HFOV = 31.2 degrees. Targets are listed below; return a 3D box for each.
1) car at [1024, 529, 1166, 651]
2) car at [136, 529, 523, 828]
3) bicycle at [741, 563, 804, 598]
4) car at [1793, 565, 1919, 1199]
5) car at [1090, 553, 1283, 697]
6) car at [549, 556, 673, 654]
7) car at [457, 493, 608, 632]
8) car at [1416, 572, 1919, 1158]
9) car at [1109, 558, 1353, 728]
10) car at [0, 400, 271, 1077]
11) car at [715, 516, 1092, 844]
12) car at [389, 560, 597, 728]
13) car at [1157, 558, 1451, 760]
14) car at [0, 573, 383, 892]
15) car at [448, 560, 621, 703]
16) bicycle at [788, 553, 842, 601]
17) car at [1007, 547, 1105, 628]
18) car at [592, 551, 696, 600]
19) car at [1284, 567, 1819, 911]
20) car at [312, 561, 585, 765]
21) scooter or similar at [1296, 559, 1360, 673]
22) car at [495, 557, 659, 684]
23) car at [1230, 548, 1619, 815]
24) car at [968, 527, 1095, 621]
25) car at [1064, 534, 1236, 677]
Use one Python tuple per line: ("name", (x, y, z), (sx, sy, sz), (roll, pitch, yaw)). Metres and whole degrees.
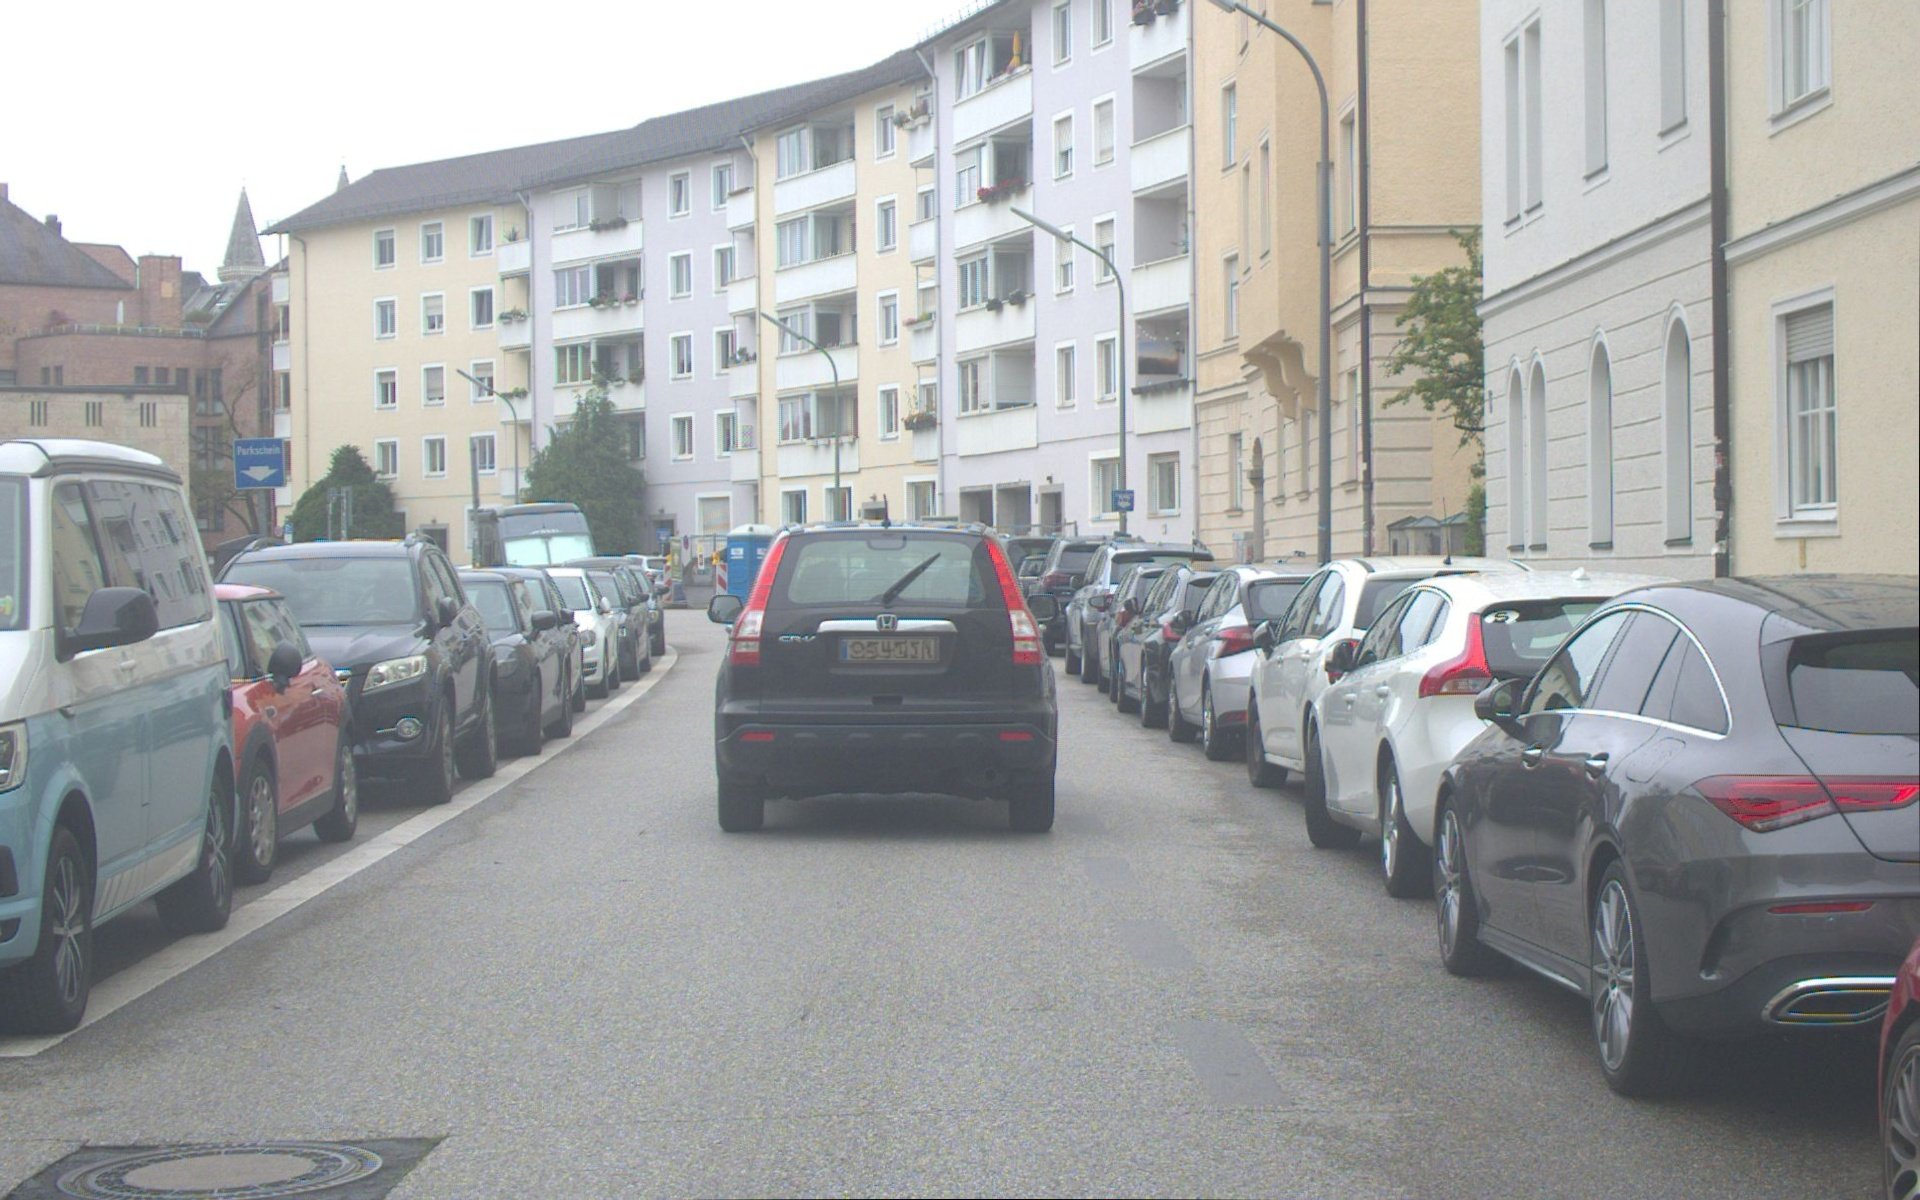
("car", (1.972, -0.174, 51.486), (1.869, 1.711, 4.866), (1, 1, -1))
("car", (-4.033, 0.436, 22.682), (1.743, 1.660, 4.449), (-4, 1, -2))
("bicycle", (-5.891, -0.607, 108.039), (1.865, 1.087, 0.566), (-1, 1, -22))
("car", (2.767, 0.683, 5.829), (1.679, 1.492, 3.824), (0, 1, -2))
("car", (2.349, 0.229, 36.494), (1.679, 1.422, 4.087), (0, 1, -1))
("car", (-5.439, 0.043, 53.719), (1.799, 1.401, 4.456), (-2, 1, -5))
("car", (-8.740, -0.781, 69.820), (2.163, 2.632, 6.019), (-2, 1, -15))
("car", (2.605, 0.628, 10.615), (1.679, 1.405, 4.422), (0, 1, -2))
("car", (2.381, 0.337, 31.152), (1.679, 1.422, 4.391), (0, 1, -2))
("car", (-3.864, 0.406, 12.476), (1.928, 1.972, 5.023), (-2, 1, -3))
("car", (-0.423, 0.380, 19.362), (1.890, 1.642, 3.992), (0, 1, -4))
("car", (-4.440, 0.375, 33.131), (1.656, 1.448, 3.975), (-2, 1, -4))
("car", (2.572, 0.397, 26.573), (1.679, 1.422, 4.167), (0, 1, -2))
("car", (-4.064, 0.573, 17.221), (1.743, 1.382, 3.918), (0, 1, -1))
("car", (-4.738, 0.314, 38.706), (1.656, 1.448, 4.074), (-2, 1, -4))
("bicycle", (-4.240, -0.671, 100.353), (0.968, 1.384, 2.564), (0, 1, -16))
("car", (1.754, -0.245, 63.760), (1.708, 1.442, 3.830), (1, 1, 0))
("car", (-9.692, -0.759, 105.098), (1.724, 1.478, 4.000), (0, 1, -29))
("car", (2.668, 0.557, 16.496), (1.679, 1.405, 4.443), (0, 1, -2))
("car", (-4.072, 0.454, 27.881), (1.680, 1.448, 3.870), (-2, 1, -2))
("scooter or similar", (3.820, 0.163, 35.741), (0.484, 1.160, 1.172), (0, 0, -3))
("car", (-4.830, 0.222, 43.836), (1.755, 1.448, 4.396), (-2, 1, -3))
("car", (2.768, 0.433, 21.333), (1.679, 1.476, 4.167), (0, 1, -2))
("car", (1.394, -0.528, 68.596), (1.777, 1.800, 4.277), (1, 1, -9))
("car", (2.242, 0.041, 41.612), (1.722, 1.628, 4.458), (0, 1, -1))
